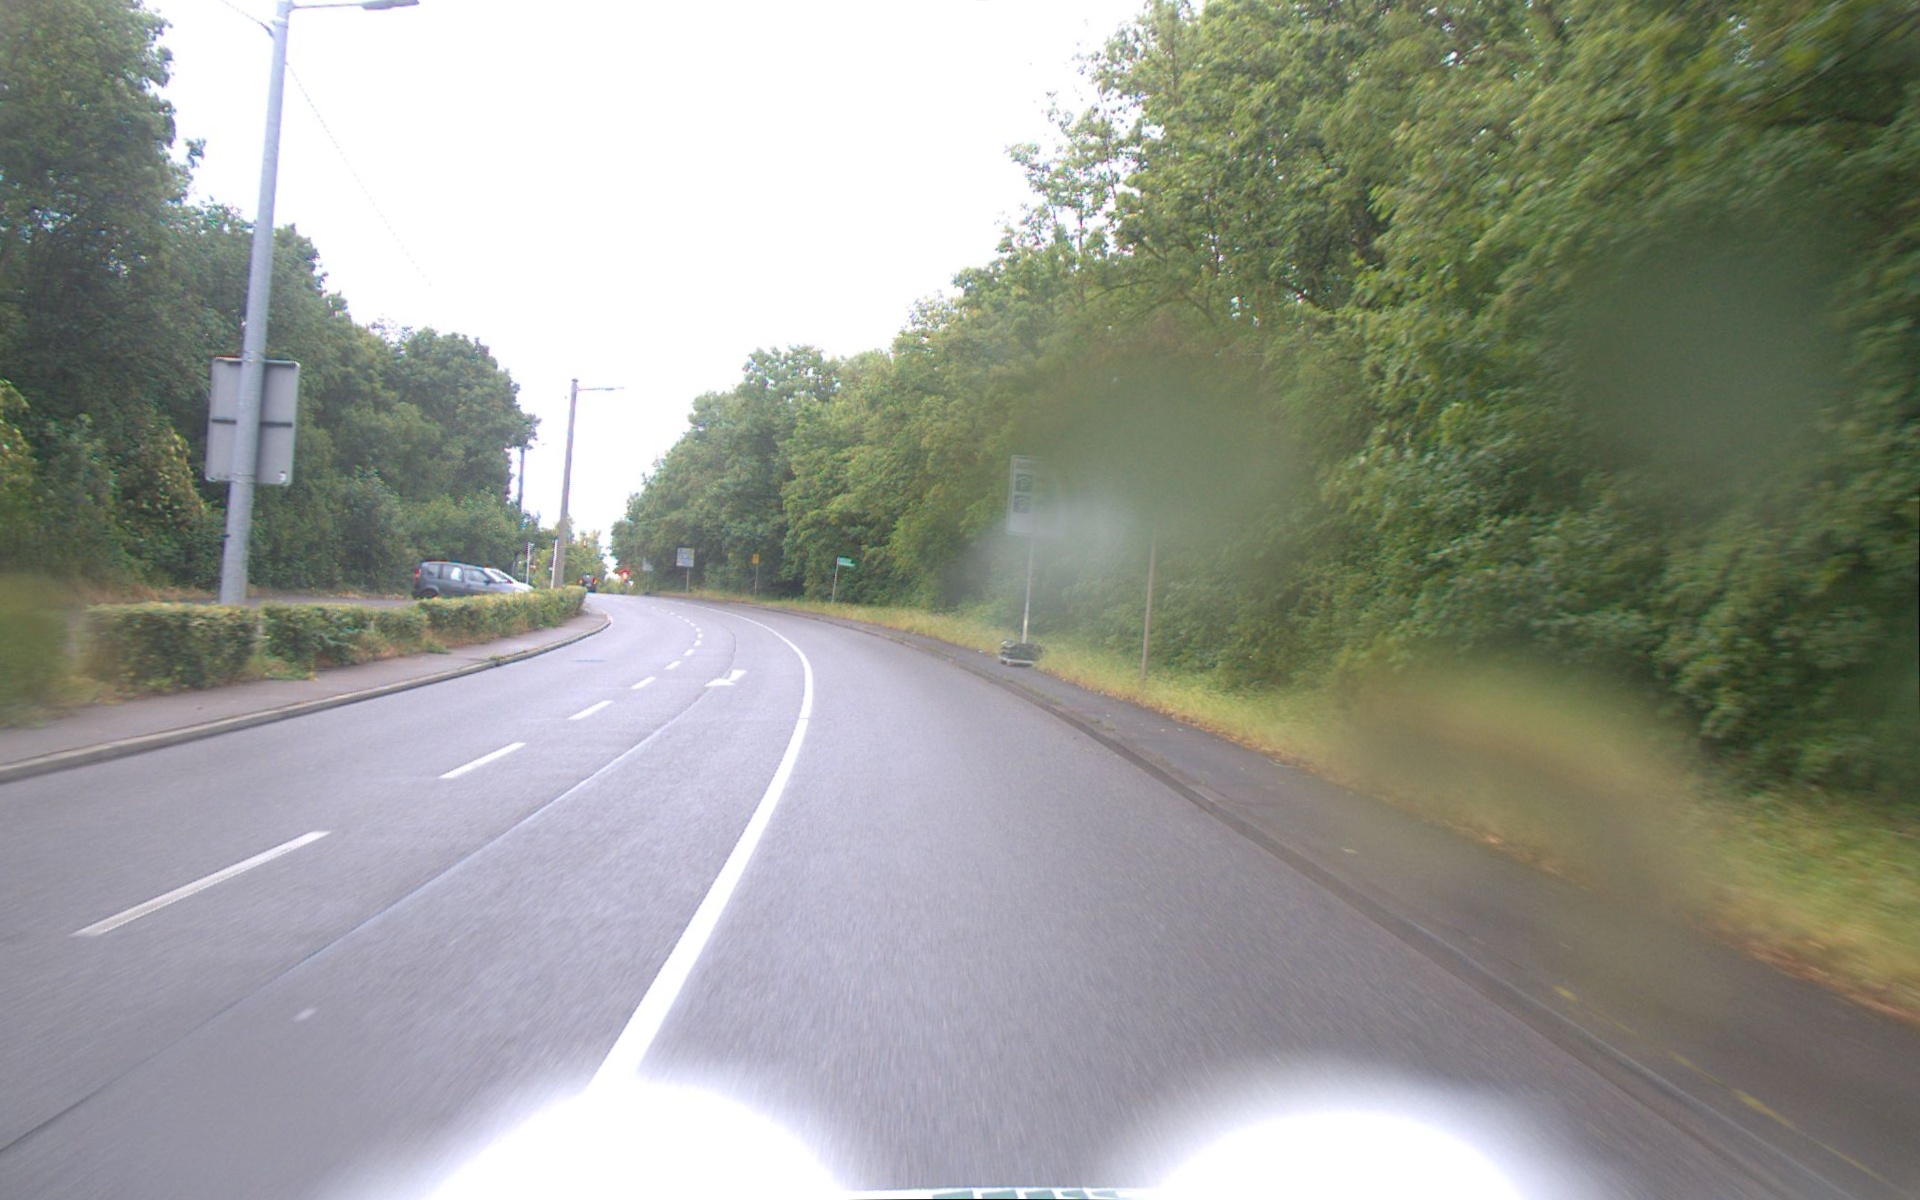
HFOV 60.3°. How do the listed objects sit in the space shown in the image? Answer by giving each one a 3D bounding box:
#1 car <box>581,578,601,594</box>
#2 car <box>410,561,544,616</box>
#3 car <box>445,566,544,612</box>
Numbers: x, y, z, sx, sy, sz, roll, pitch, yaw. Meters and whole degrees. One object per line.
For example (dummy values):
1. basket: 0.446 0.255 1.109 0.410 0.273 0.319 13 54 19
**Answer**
1. car: -38.429 -1.494 172.137 1.902 1.524 4.304 2 0 -13
2. car: -17.238 -0.424 59.210 4.209 1.738 1.997 3 0 -7
3. car: -18.197 -0.424 64.772 3.582 1.619 1.845 3 0 -13
